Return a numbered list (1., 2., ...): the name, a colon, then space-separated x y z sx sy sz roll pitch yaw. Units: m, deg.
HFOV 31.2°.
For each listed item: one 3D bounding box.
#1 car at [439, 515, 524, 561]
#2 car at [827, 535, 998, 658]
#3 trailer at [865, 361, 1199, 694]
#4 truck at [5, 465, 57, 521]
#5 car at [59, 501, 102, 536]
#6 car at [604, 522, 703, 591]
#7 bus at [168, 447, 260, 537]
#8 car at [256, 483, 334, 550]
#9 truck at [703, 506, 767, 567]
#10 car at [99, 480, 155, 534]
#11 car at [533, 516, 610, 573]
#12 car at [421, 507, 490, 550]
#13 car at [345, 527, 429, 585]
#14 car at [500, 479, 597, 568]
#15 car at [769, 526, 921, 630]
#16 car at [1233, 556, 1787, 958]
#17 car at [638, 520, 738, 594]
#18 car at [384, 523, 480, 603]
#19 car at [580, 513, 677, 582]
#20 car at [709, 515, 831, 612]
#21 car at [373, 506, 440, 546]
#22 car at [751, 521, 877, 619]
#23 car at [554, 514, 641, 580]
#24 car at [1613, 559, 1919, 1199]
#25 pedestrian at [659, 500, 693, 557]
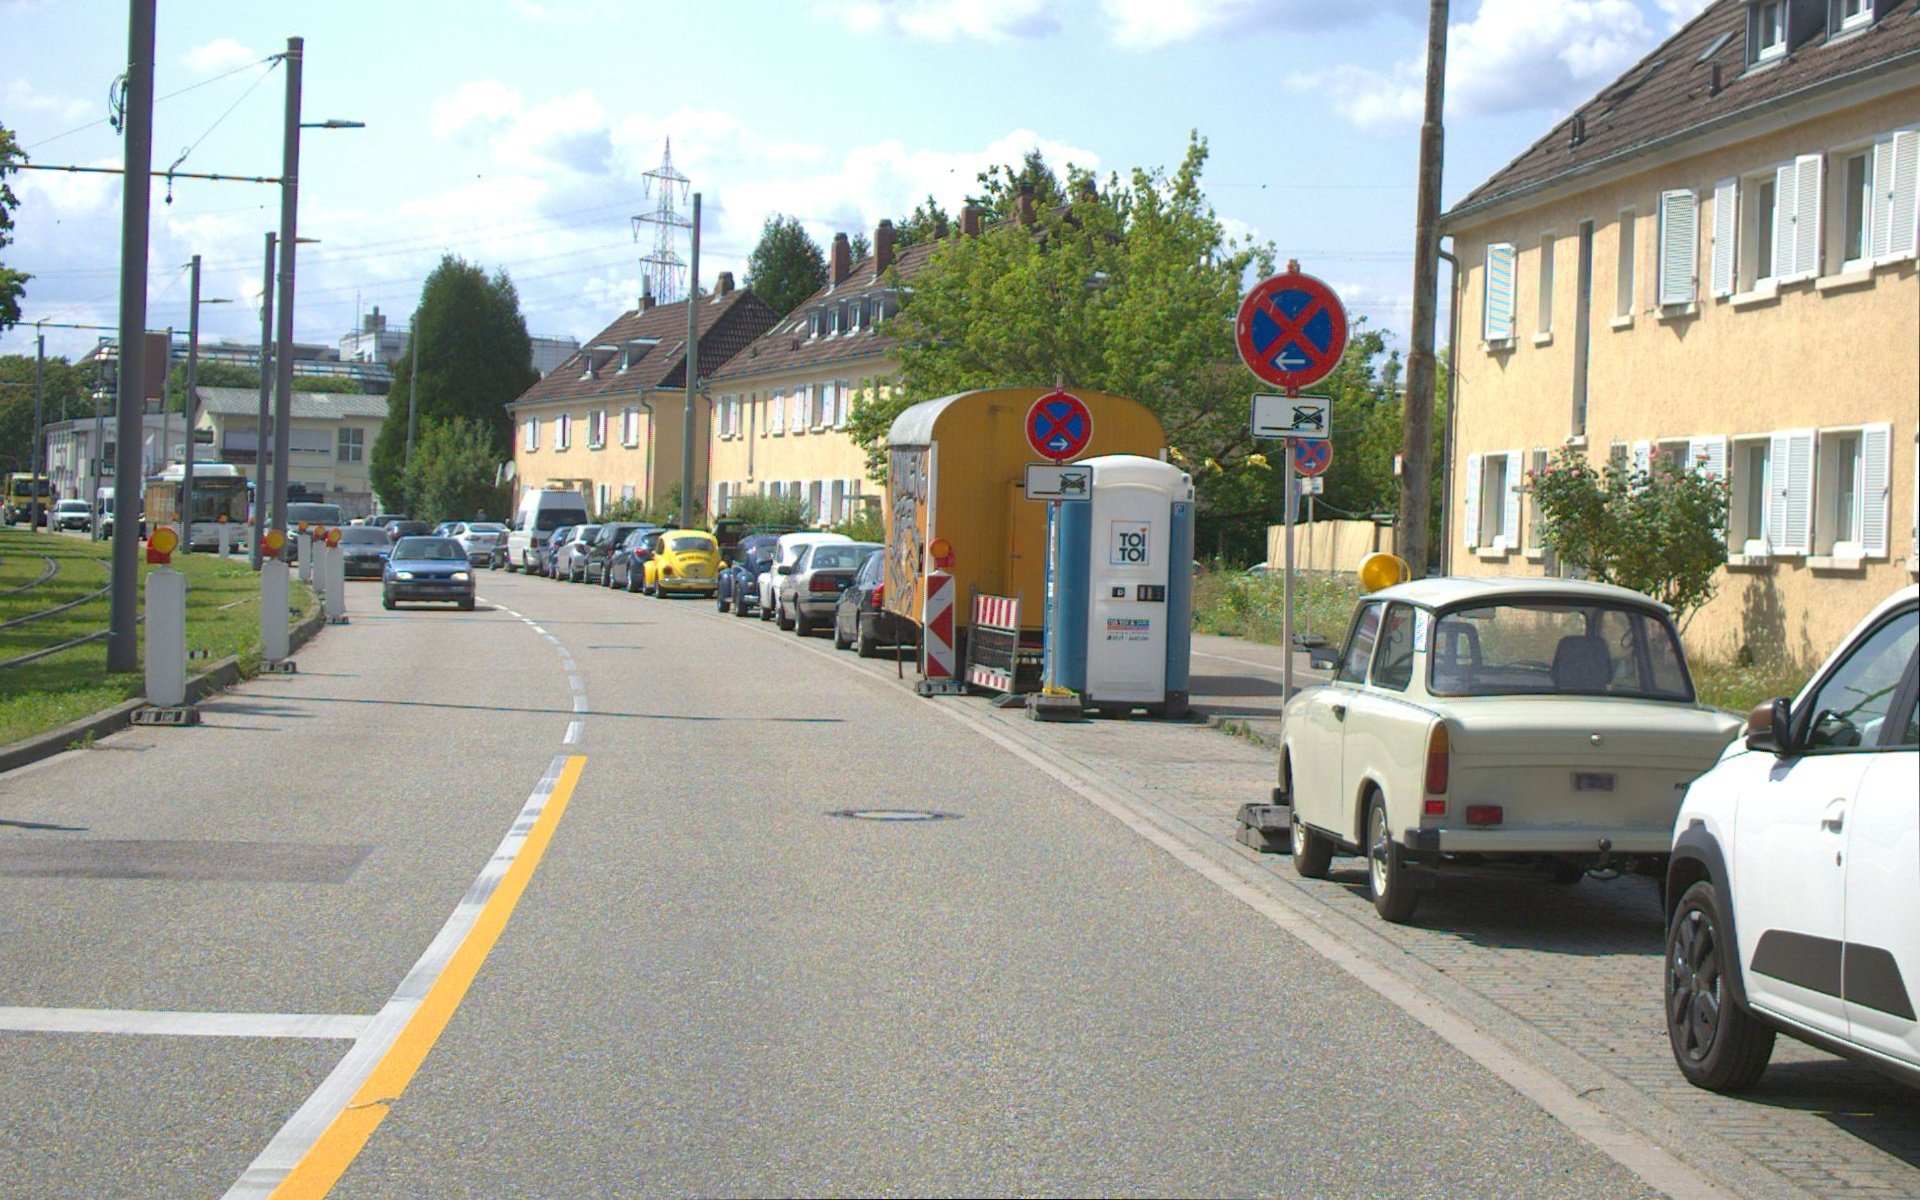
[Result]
1. car: -15.548 -2.016 111.523 1.798 1.453 4.767 0 1 -19
2. car: -0.677 -0.084 44.921 1.577 1.444 4.454 2 1 -9
3. trailer: 0.654 -0.779 36.667 2.689 3.215 5.083 2 1 -8
4. truck: -59.091 -6.810 218.644 2.559 3.447 7.152 0 2 -20
5. car: -48.471 -4.498 189.460 1.734 1.767 4.310 2 1 -21
6. car: -7.165 -1.040 80.064 1.635 1.477 4.126 2 1 -14
7. bus: -30.019 -4.330 137.953 2.635 3.400 12.253 0 2 -17
8. car: -20.482 -2.577 105.755 1.955 1.959 5.295 1 1 -15
9. truck: -6.431 -1.814 98.137 1.346 1.683 2.442 1 1 -15
10. car: -39.423 -4.405 162.636 2.102 2.435 5.573 2 1 -18
11. car: -10.643 -1.522 94.026 1.535 1.440 3.738 2 1 -14
12. car: -17.142 -2.435 116.761 1.620 1.412 4.001 0 2 -19
13. car: -14.852 -1.146 89.041 1.724 1.384 4.123 2 1 -15
14. car: -11.917 -2.227 99.224 1.928 2.472 5.519 1 1 -15
15. car: -1.815 -0.369 52.723 1.706 1.444 4.836 2 1 -9
16. car: 2.281 0.582 15.271 1.463 1.497 4.110 1 1 -5
17. car: -5.946 -0.962 74.911 1.636 1.477 3.933 -1 2 -12
18. car: -10.134 -0.734 65.809 1.665 1.444 3.961 -1 2 -11
19. car: -8.277 -1.319 85.522 1.635 1.597 3.933 2 1 -16
20. car: -3.507 -0.695 62.818 1.548 1.635 4.248 2 1 -12
21. car: -20.167 -2.709 125.194 1.763 1.412 4.001 0 2 -19
22. car: -2.498 -0.534 57.774 1.577 1.507 4.461 2 1 -9
23. car: -9.440 -1.395 89.379 1.635 1.597 4.031 2 1 -14
24. car: 2.843 0.663 8.589 1.527 1.476 3.810 1 1 -2
25. pedestrian: -8.388 -2.124 101.633 0.853 1.646 0.637 2 1 -14
